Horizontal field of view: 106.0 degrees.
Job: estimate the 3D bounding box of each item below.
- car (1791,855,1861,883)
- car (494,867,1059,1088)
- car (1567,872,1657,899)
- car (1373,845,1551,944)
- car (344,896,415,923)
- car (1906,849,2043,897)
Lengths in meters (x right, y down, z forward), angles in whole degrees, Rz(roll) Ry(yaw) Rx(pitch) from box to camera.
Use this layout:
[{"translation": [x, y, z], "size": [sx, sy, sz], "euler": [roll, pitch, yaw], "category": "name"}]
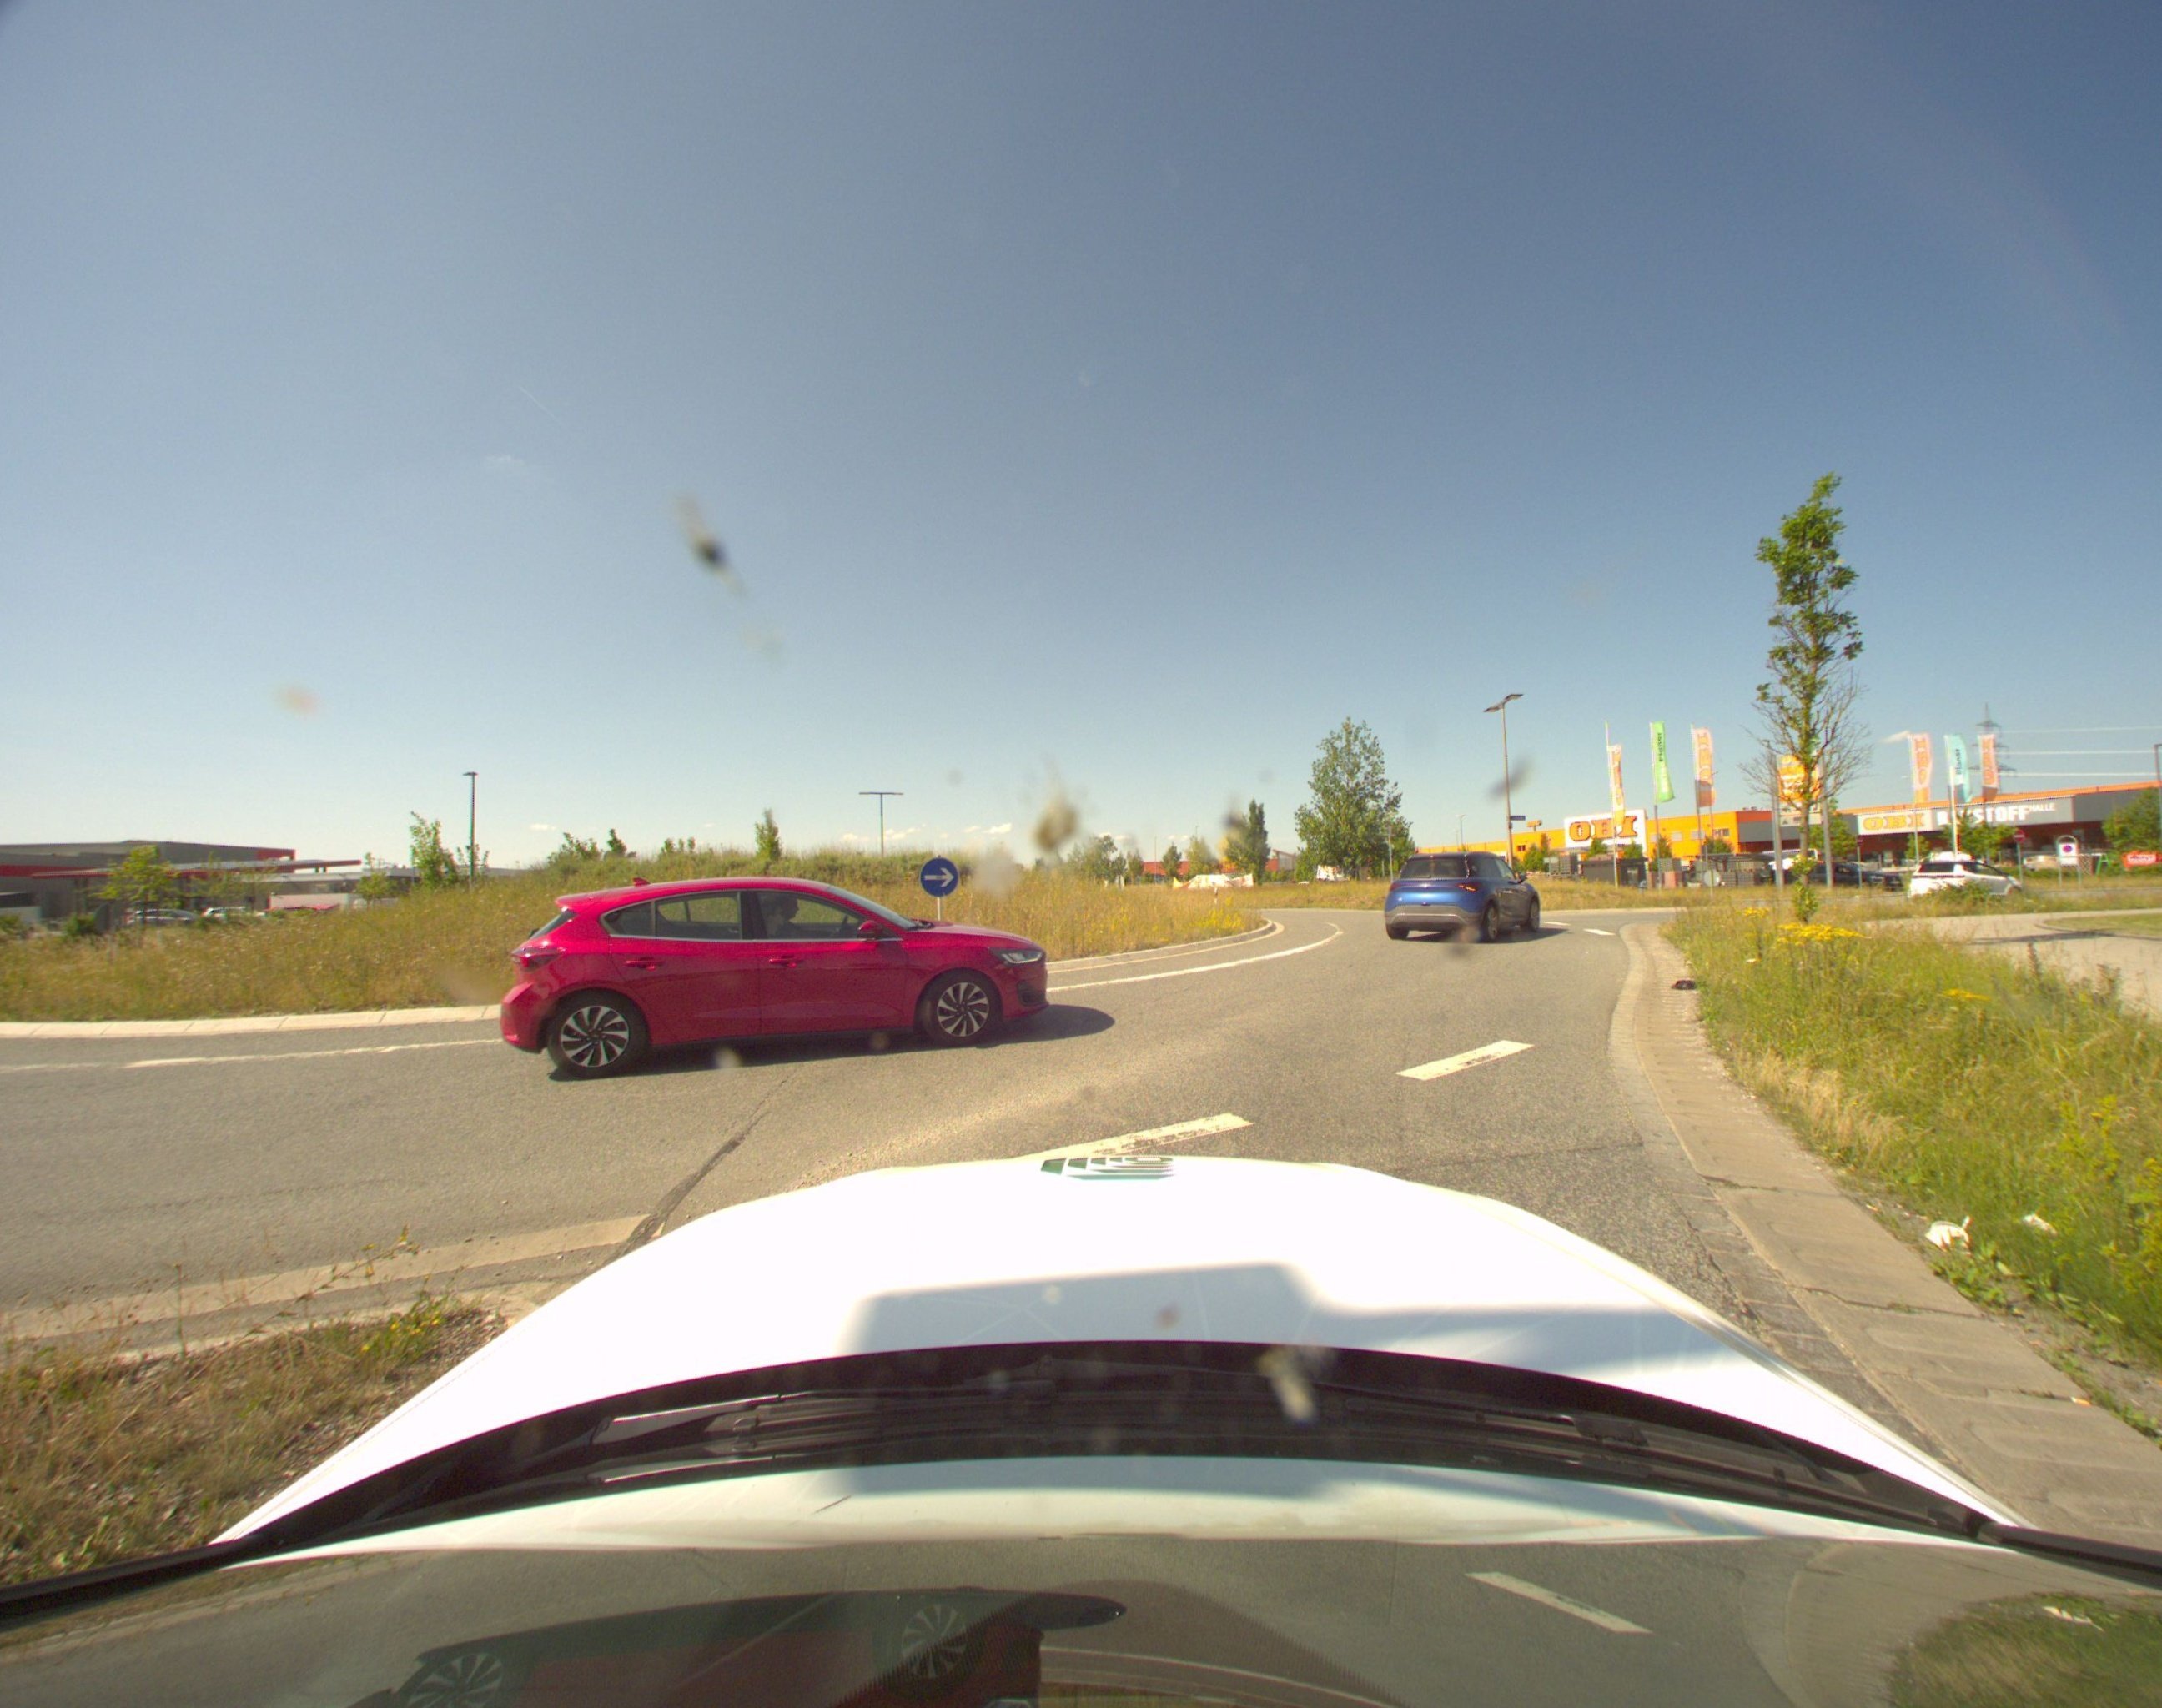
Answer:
[{"translation": [51.272, 1.076, 56.043], "size": [3.766, 1.841, 1.692], "euler": [1, -3, -13], "category": "car"}, {"translation": [-2.423, 0.903, 7.237], "size": [4.113, 1.416, 1.798], "euler": [-2, -1, -16], "category": "car"}, {"translation": [35.794, 2.155, 55.083], "size": [2.081, 1.627, 4.659], "euler": [0, -4, -23], "category": "car"}, {"translation": [7.433, 0.699, 15.708], "size": [1.834, 1.635, 4.104], "euler": [-2, -2, 44], "category": "car"}, {"translation": [-56.674, 4.445, 65.946], "size": [1.994, 2.014, 5.117], "euler": [-1, -3, -10], "category": "car"}, {"translation": [29.524, 0.630, 26.942], "size": [3.341, 1.441, 1.508], "euler": [-2, -2, -11], "category": "car"}]
